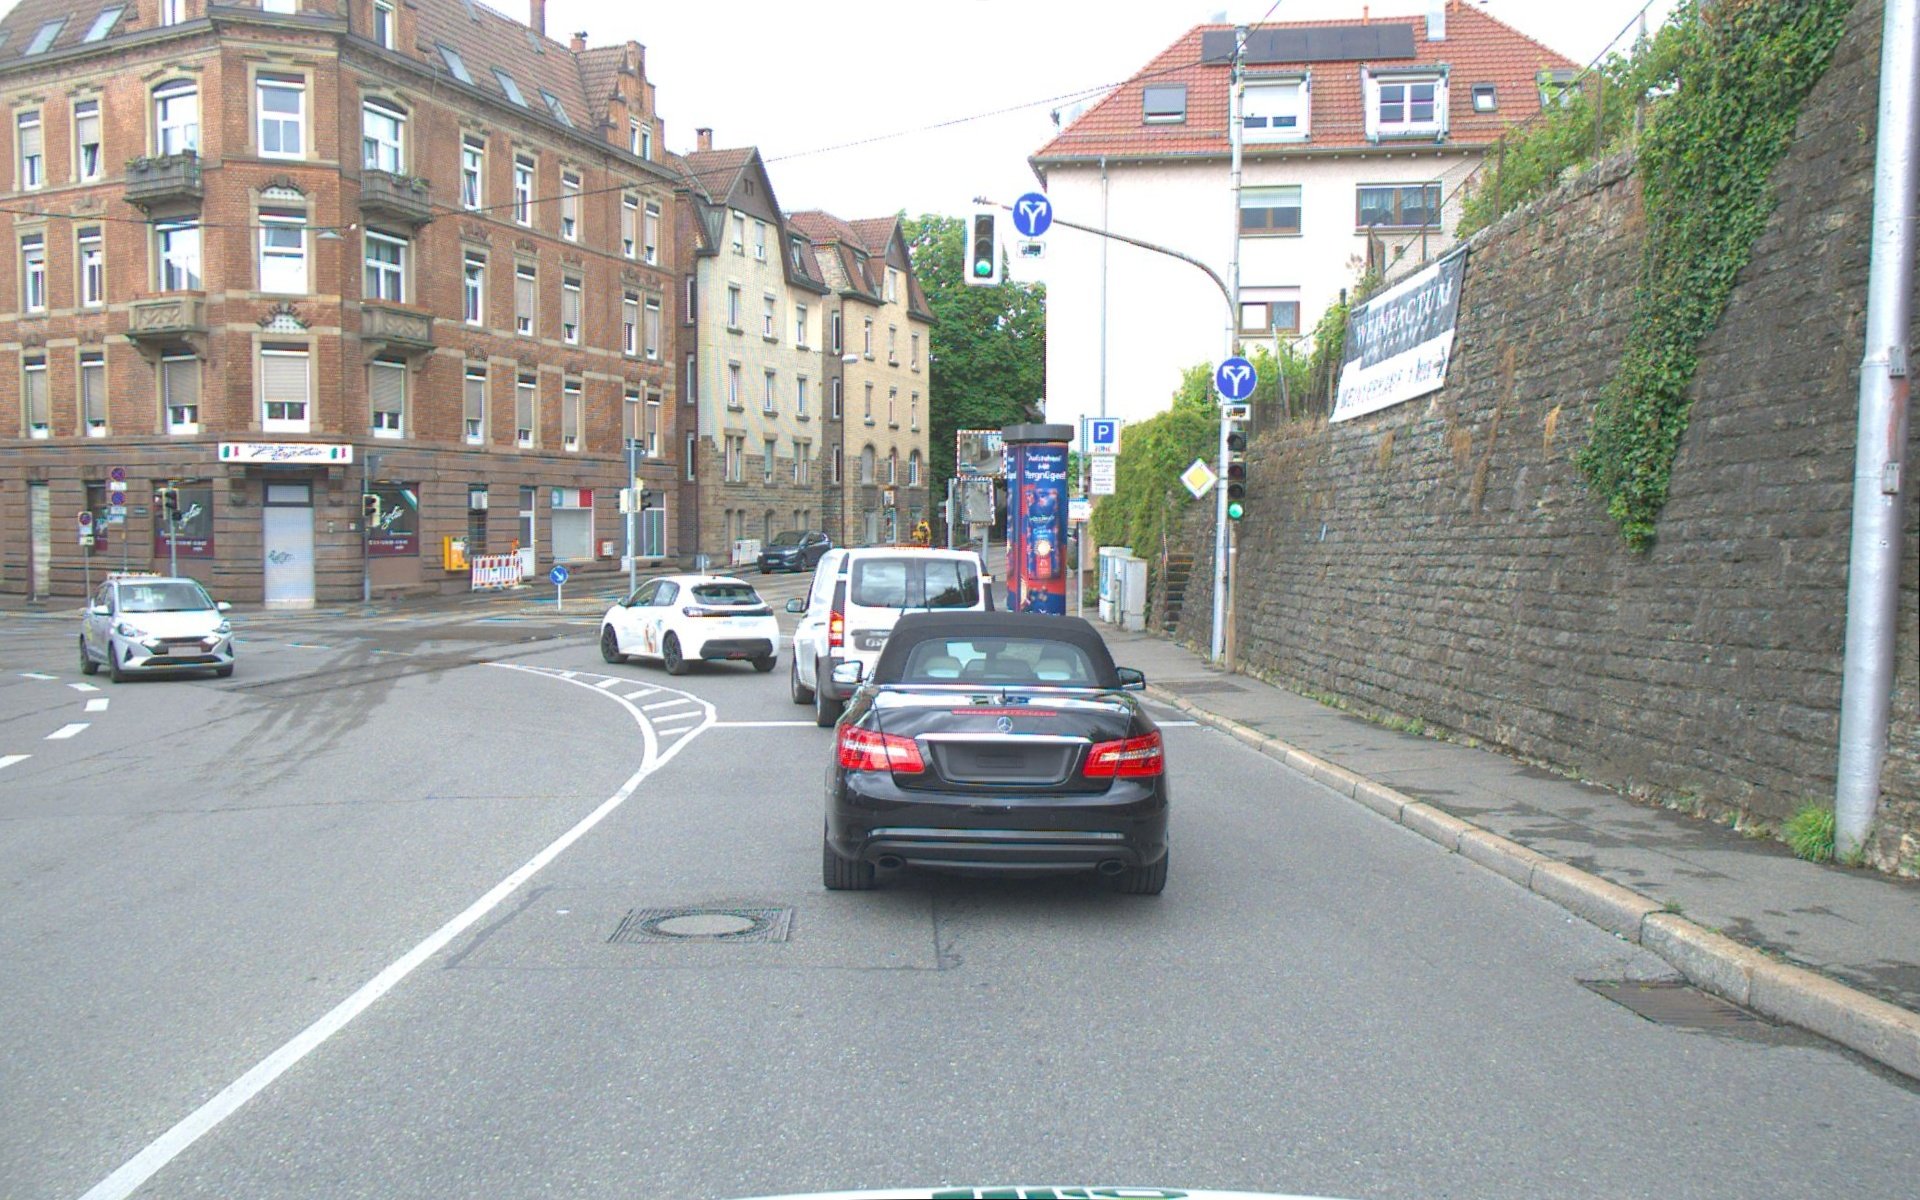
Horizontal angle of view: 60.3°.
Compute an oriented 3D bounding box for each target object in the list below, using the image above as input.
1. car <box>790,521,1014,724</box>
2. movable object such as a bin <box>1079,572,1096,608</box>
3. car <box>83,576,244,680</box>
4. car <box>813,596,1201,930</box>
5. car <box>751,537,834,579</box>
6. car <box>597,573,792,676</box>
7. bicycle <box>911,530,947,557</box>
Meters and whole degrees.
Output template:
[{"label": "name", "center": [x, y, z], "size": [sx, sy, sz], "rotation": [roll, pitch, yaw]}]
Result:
[{"label": "car", "center": [-0.812, 0.258, 19.142], "size": [1.857, 1.962, 4.633], "rotation": [3, -1, -10]}, {"label": "movable object such as a bin", "center": [3.284, -0.256, 42.725], "size": [0.337, 0.927, 0.494], "rotation": [1, 0, -6]}, {"label": "car", "center": [-12.372, 0.390, 25.578], "size": [1.656, 1.493, 3.597], "rotation": [0, 0, -36]}, {"label": "car", "center": [0.144, 0.723, 9.633], "size": [1.726, 1.434, 4.397], "rotation": [-1, 1, -2]}, {"label": "car", "center": [-6.744, -1.748, 67.159], "size": [1.951, 1.541, 4.291], "rotation": [0, 3, 15]}, {"label": "car", "center": [-4.290, 0.345, 26.327], "size": [1.665, 1.491, 3.874], "rotation": [-1, 1, -33]}, {"label": "bicycle", "center": [-1.648, -3.035, 88.932], "size": [0.620, 1.329, 2.595], "rotation": [-2, 2, 30]}]
